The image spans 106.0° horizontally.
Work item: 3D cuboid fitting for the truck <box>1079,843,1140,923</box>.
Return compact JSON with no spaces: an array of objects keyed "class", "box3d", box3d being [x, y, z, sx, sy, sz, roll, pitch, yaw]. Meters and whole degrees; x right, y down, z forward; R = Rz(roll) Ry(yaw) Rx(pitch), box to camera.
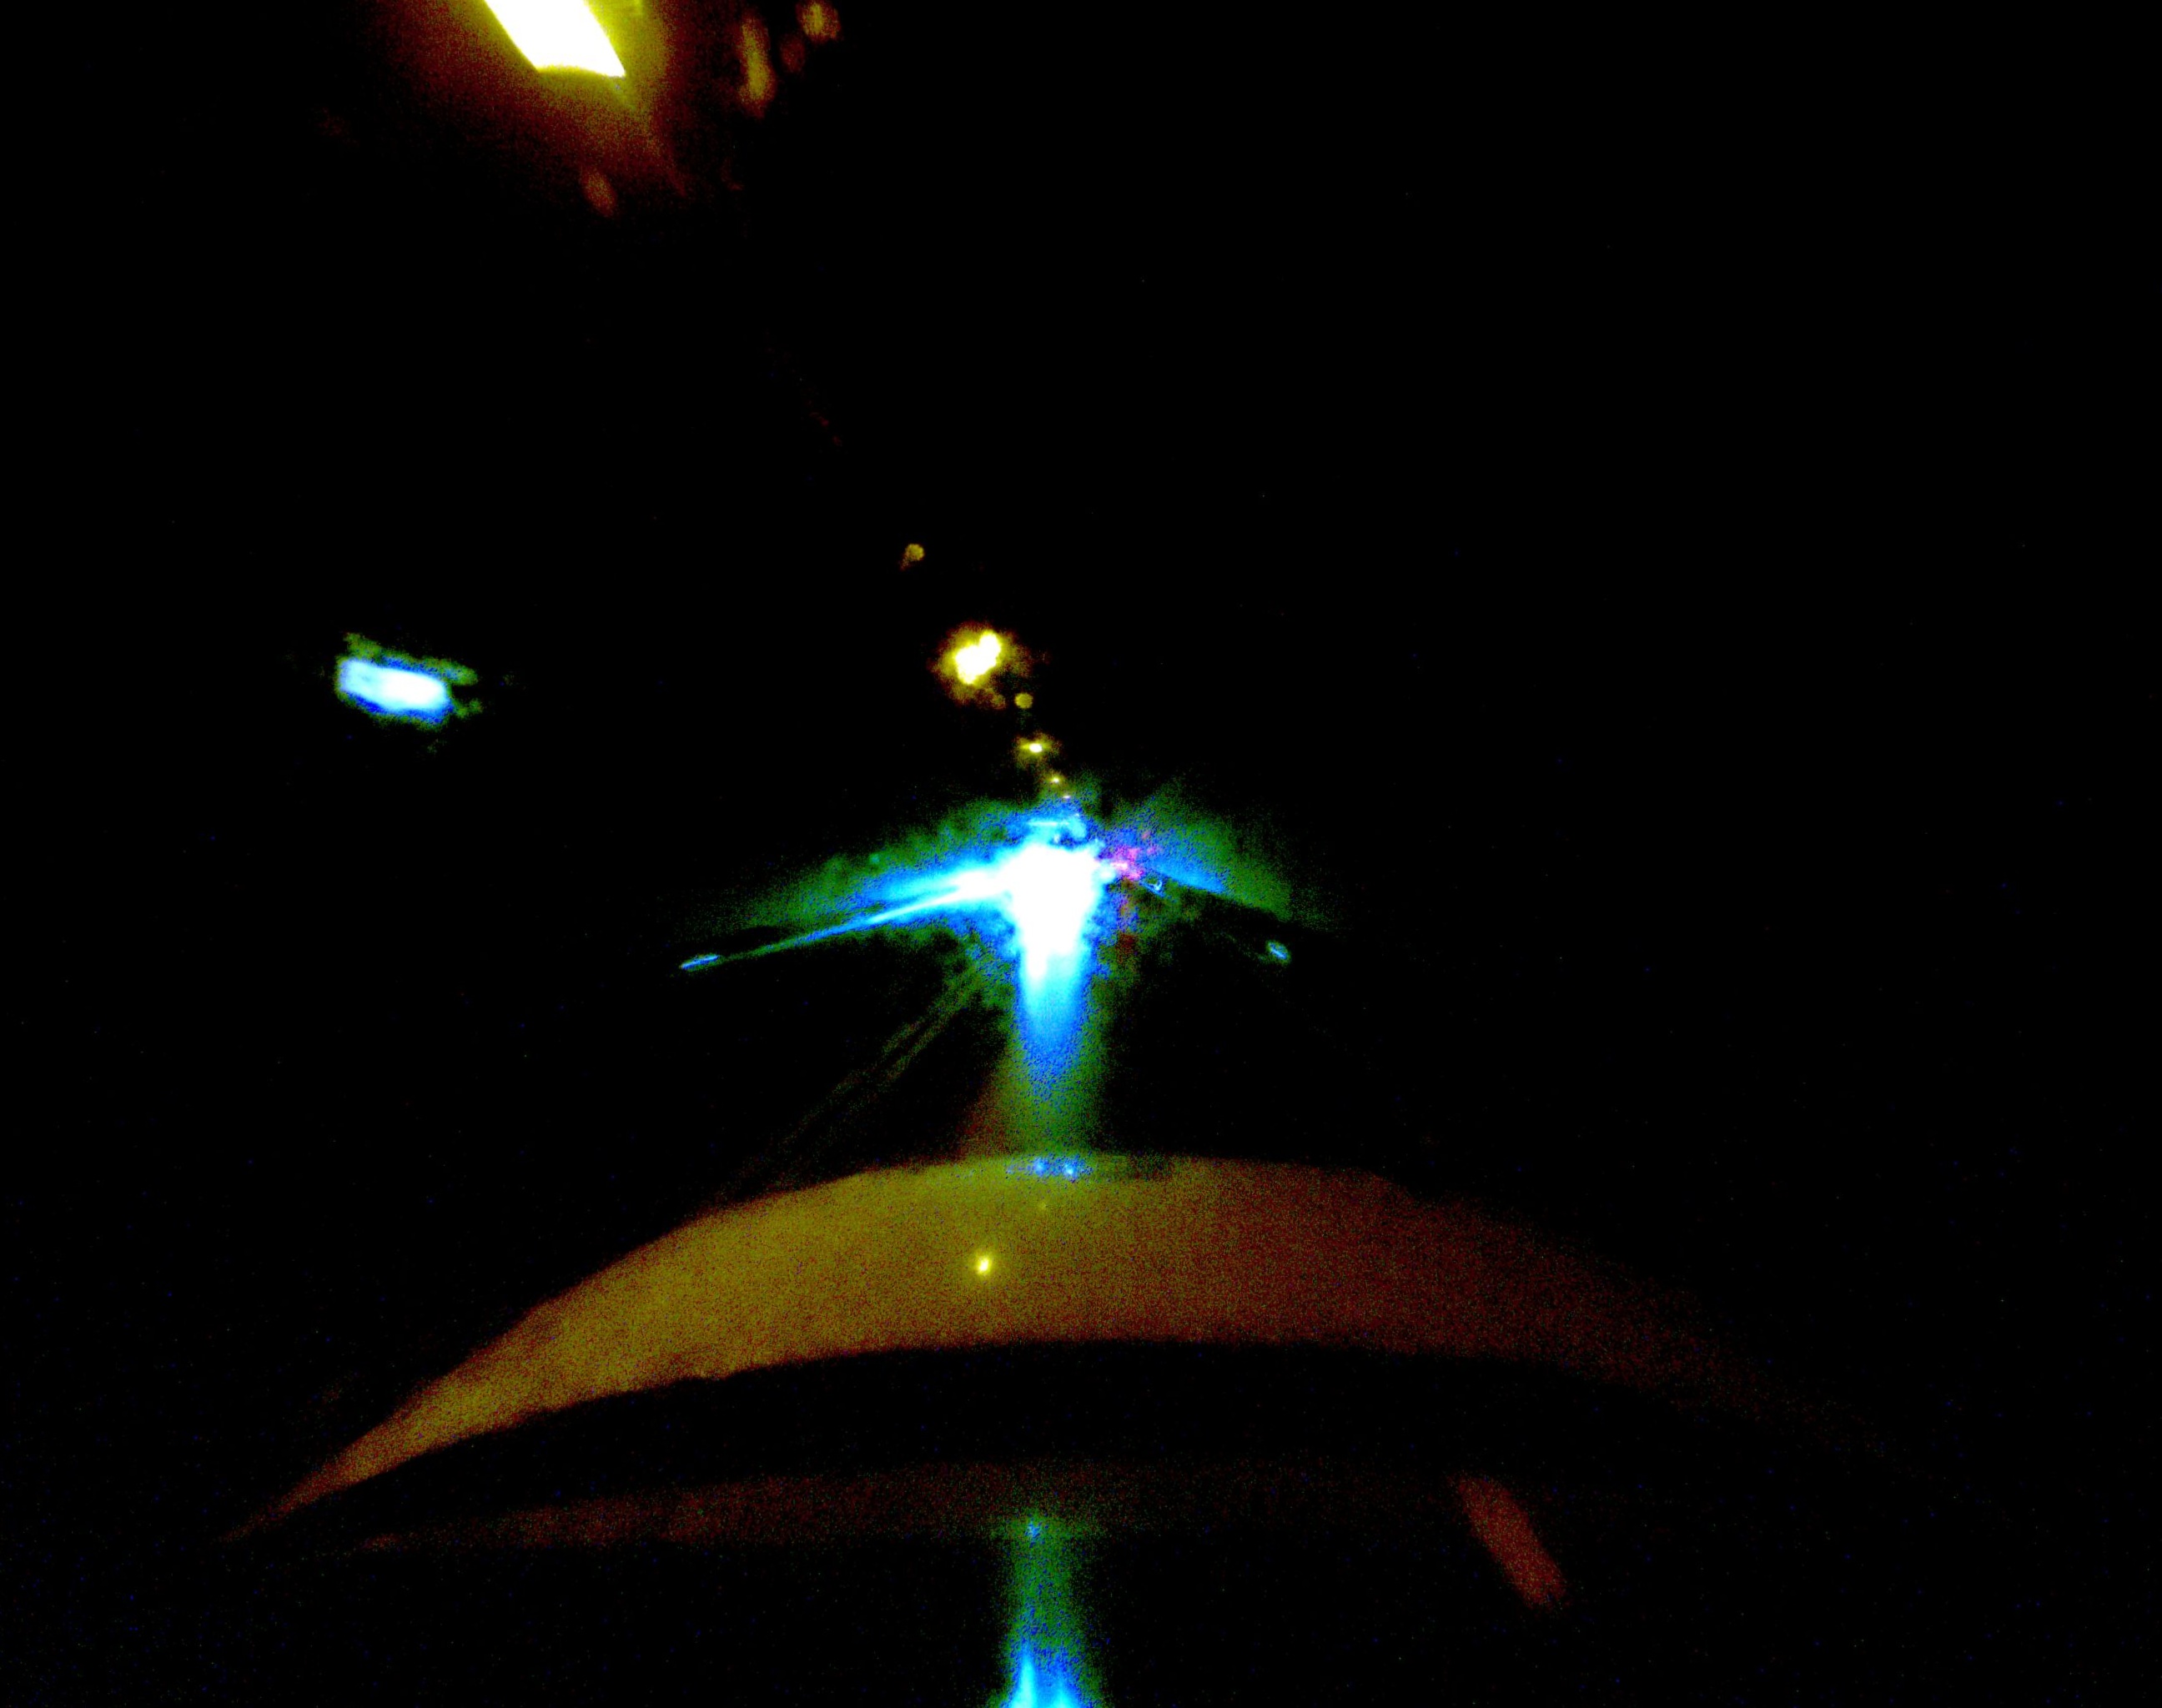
[{"class":"truck","box3d":[1.214,1.120,35.148,2.254,3.011,7.417,-2,0,2]}]
